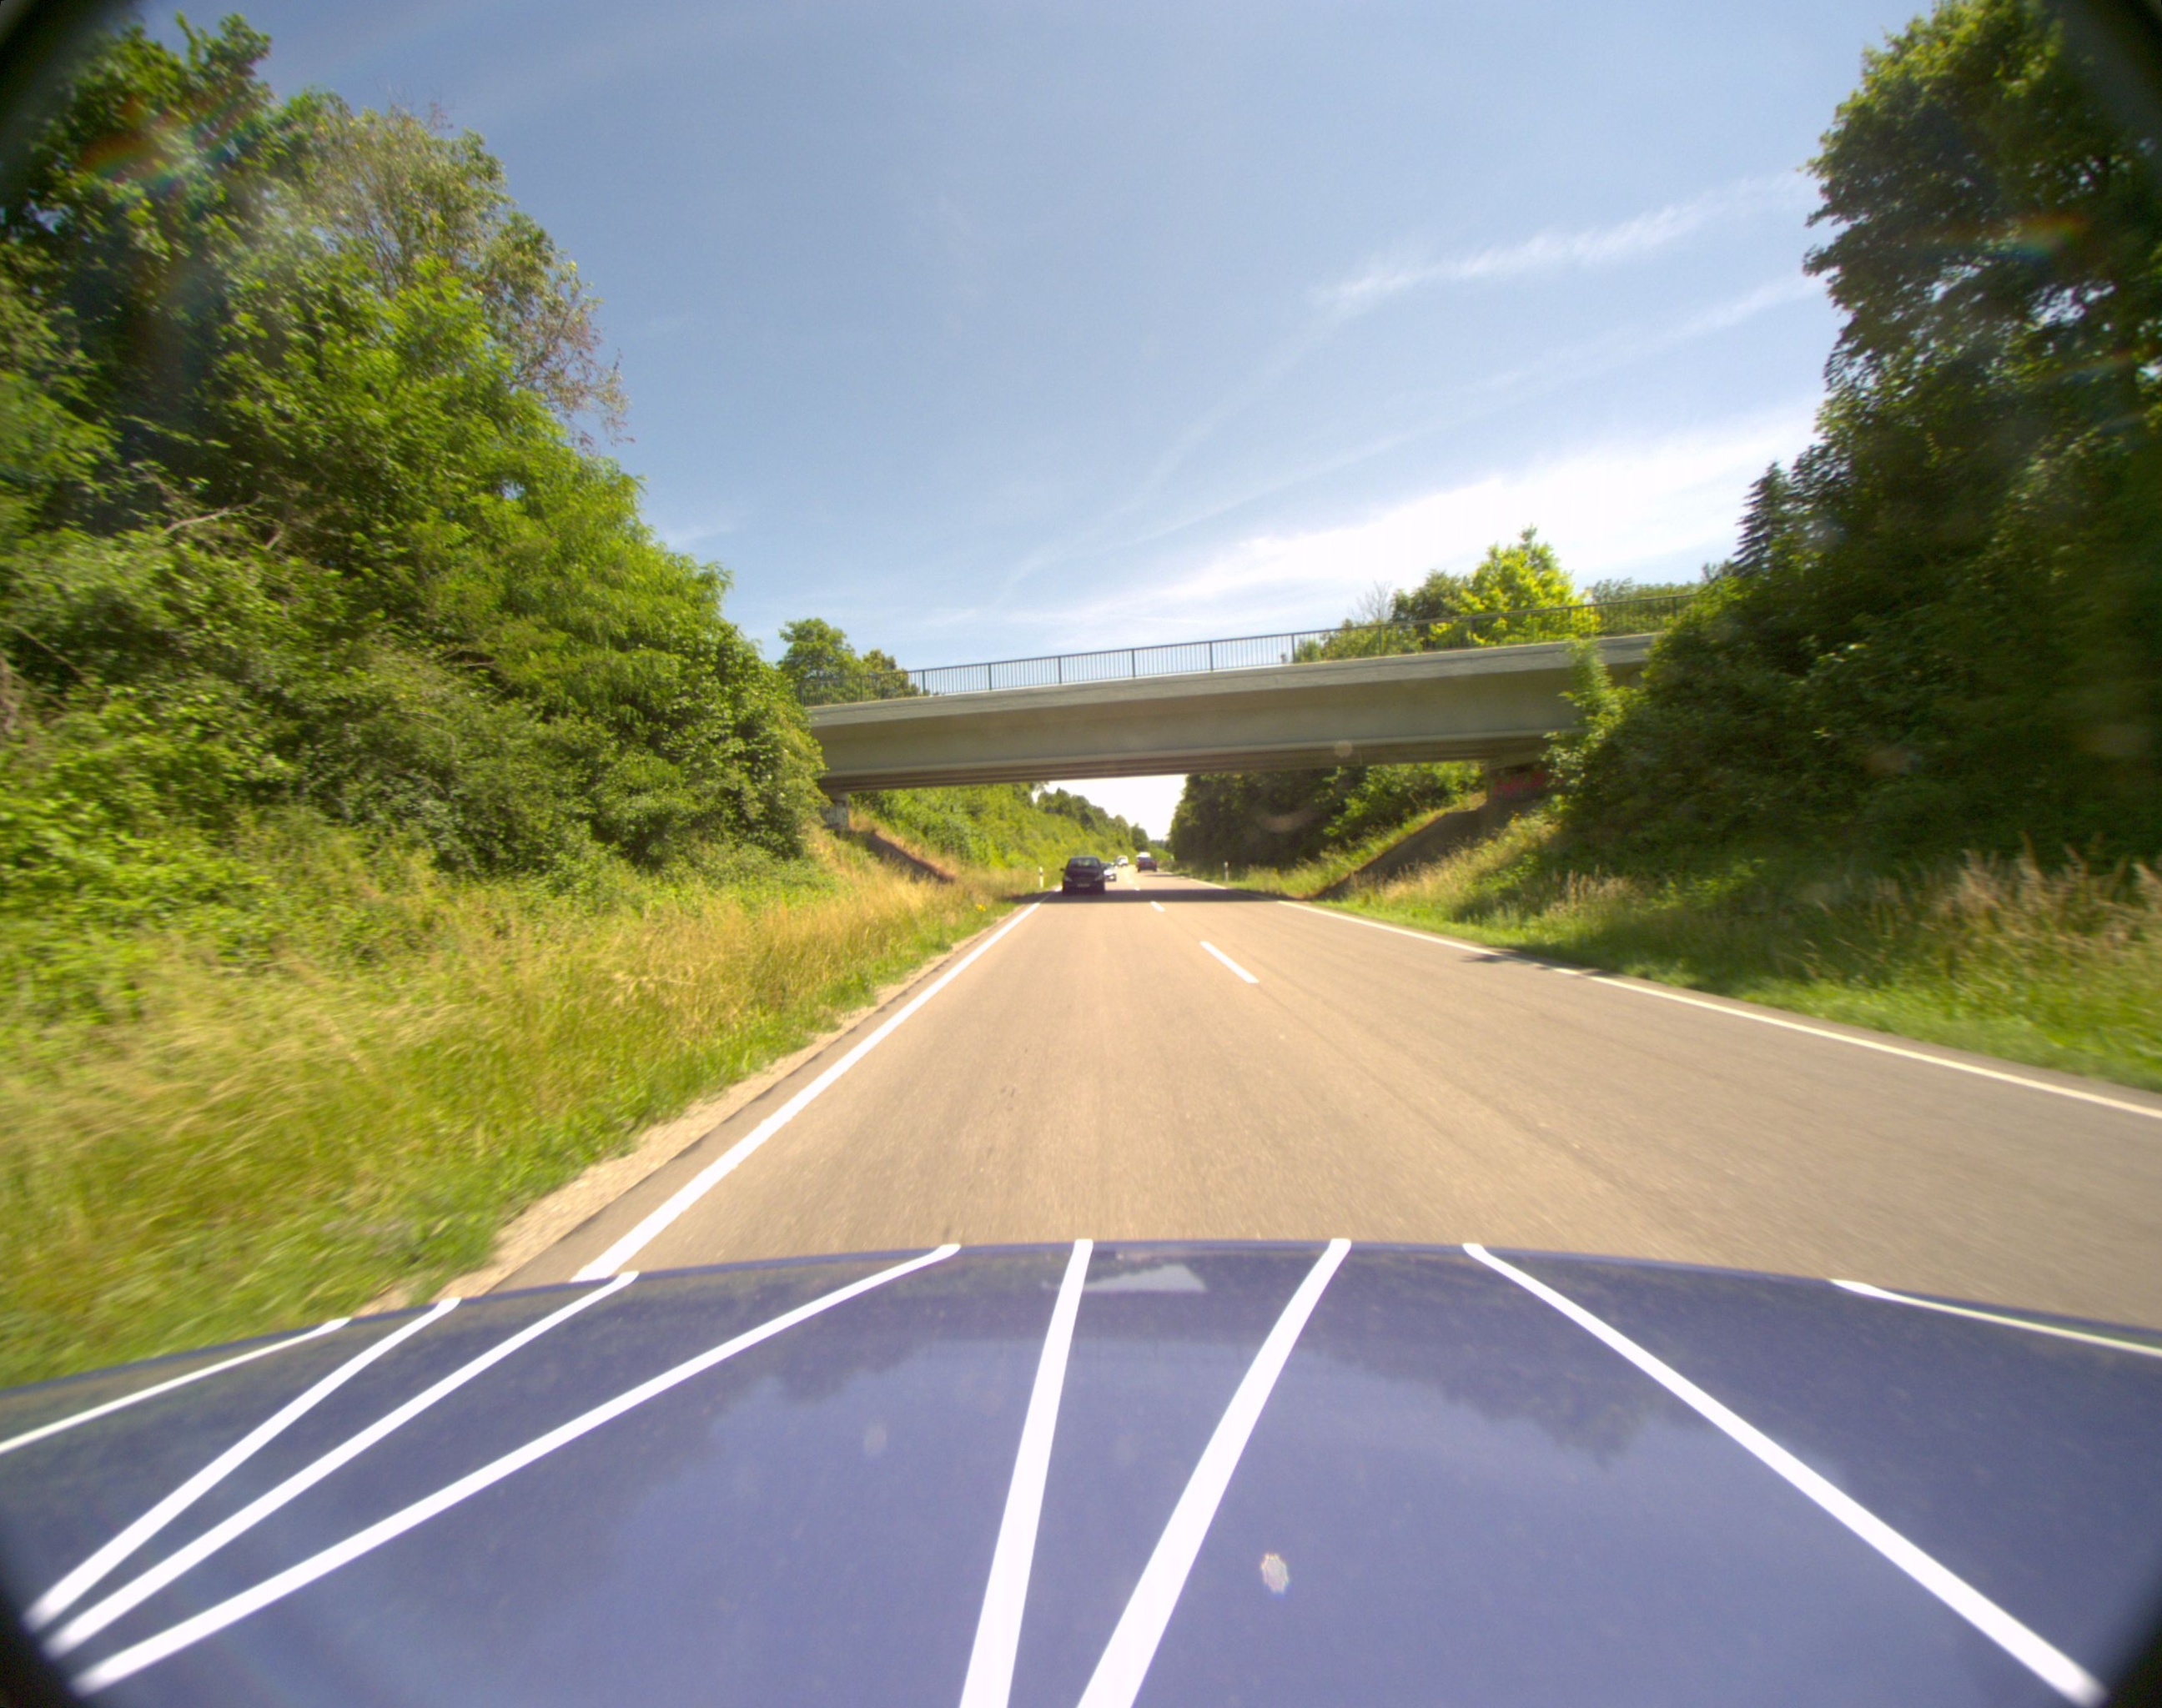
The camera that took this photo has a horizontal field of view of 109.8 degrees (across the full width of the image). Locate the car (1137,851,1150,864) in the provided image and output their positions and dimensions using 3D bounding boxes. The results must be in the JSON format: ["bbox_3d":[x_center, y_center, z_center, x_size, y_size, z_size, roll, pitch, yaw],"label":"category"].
[{"bbox_3d":[9.634,0.532,117.464,1.936,1.894,5.328,-2,0,3],"label":"car"}]

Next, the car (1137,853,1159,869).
[{"bbox_3d":[6.642,0.635,75.711,1.863,1.497,4.587,-1,0,2],"label":"car"}]

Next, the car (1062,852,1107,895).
[{"bbox_3d":[0.182,0.806,32.866,1.783,1.676,4.779,-1,0,1],"label":"car"}]

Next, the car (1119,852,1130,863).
[{"bbox_3d":[8.178,0.596,142.477,1.998,2.002,4.001,-2,0,4],"label":"car"}]

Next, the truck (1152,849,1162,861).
[{"bbox_3d":[23.456,0.199,234.628,2.576,3.111,11.203,-4,1,7],"label":"truck"}]

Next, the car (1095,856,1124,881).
[{"bbox_3d":[1.798,0.892,47.939,1.709,1.444,5.415,-1,0,2],"label":"car"}]

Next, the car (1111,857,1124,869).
[{"bbox_3d":[5.807,1.445,121.239,2.045,1.743,4.167,-1,0,2],"label":"car"}]
